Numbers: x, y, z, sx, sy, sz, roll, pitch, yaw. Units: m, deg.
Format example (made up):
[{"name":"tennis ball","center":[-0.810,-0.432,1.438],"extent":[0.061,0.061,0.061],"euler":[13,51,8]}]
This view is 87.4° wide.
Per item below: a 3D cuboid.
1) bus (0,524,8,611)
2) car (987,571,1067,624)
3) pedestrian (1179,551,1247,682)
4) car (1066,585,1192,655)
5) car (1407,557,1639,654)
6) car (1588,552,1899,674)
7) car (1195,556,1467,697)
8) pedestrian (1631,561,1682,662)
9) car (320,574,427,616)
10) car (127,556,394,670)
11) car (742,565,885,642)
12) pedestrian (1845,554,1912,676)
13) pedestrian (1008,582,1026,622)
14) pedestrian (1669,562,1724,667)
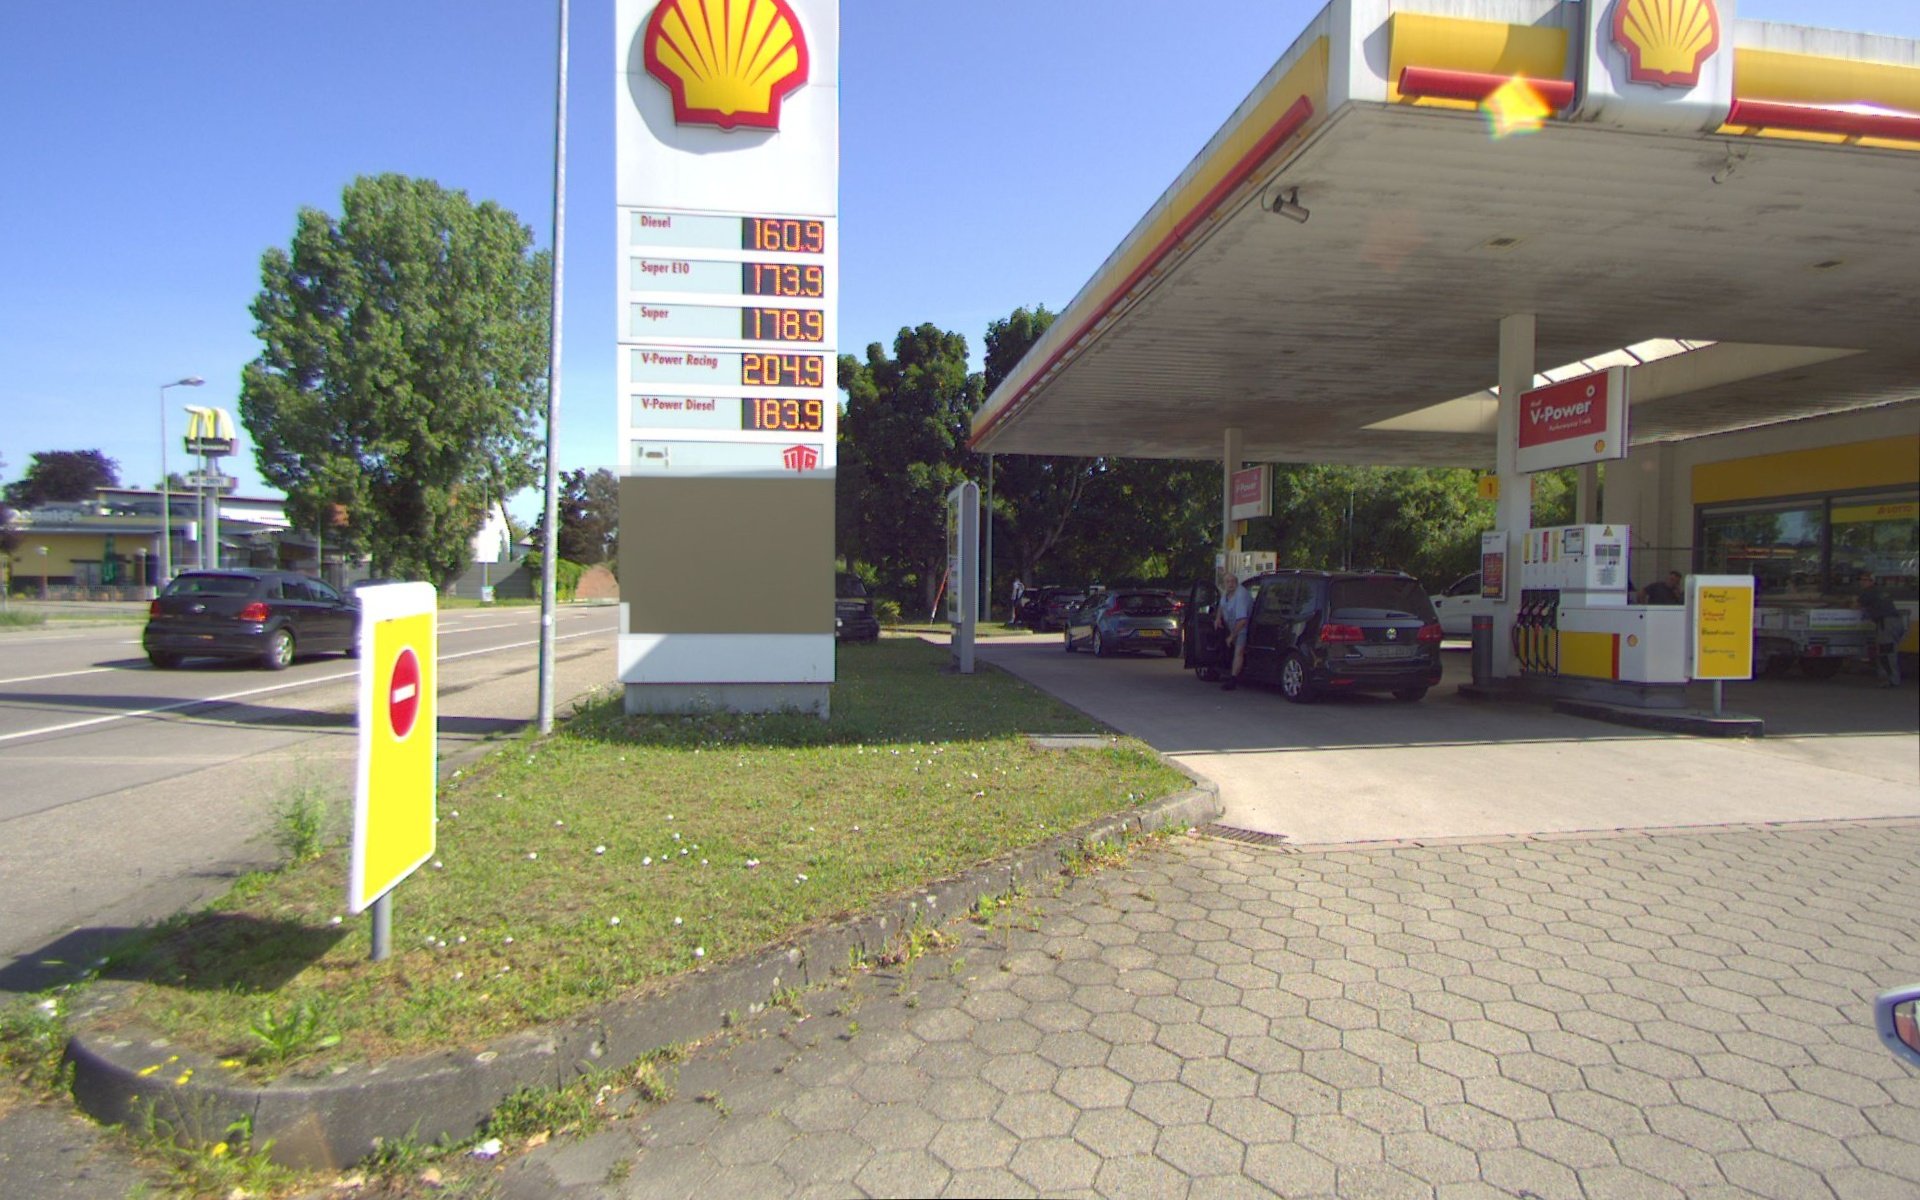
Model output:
[{"name":"bus","center":[-30.667,-1.052,27.122],"extent":[2.541,2.715,8.981],"euler":[2,0,-10]},{"name":"car","center":[2.409,-0.099,37.216],"extent":[1.964,1.789,3.992],"euler":[2,0,-10]},{"name":"pedestrian","center":[3.465,0.220,13.801],"extent":[0.661,1.752,0.811],"euler":[0,1,-5]},{"name":"car","center":[3.523,0.379,21.601],"extent":[1.769,1.379,3.845],"euler":[0,0,-5]},{"name":"car","center":[11.985,0.096,21.830],"extent":[1.824,1.862,4.772],"euler":[0,1,-9]},{"name":"car","center":[12.530,0.191,16.441],"extent":[1.798,1.751,3.997],"euler":[0,0,-4]},{"name":"car","center":[4.732,0.292,13.473],"extent":[1.733,1.599,3.871],"euler":[0,1,-9]},{"name":"pedestrian","center":[11.534,0.183,16.643],"extent":[0.491,1.653,0.475],"euler":[0,1,-4]},{"name":"car","center":[-22.712,-0.185,39.144],"extent":[1.818,1.516,4.905],"euler":[-1,0,-8]},{"name":"car","center":[-10.502,0.155,15.482],"extent":[1.621,1.450,4.050],"euler":[3,0,-7]},{"name":"car","center":[-3.146,0.077,21.515],"extent":[2.687,1.550,1.572],"euler":[1,-1,36]},{"name":"pedestrian","center":[13.027,0.207,14.254],"extent":[0.467,1.691,0.500],"euler":[0,1,-7]},{"name":"pedestrian","center":[2.267,0.077,40.159],"extent":[0.665,1.557,0.393],"euler":[0,1,-4]},{"name":"pedestrian","center":[11.547,0.222,15.752],"extent":[0.491,1.615,0.475],"euler":[0,1,-4]}]
